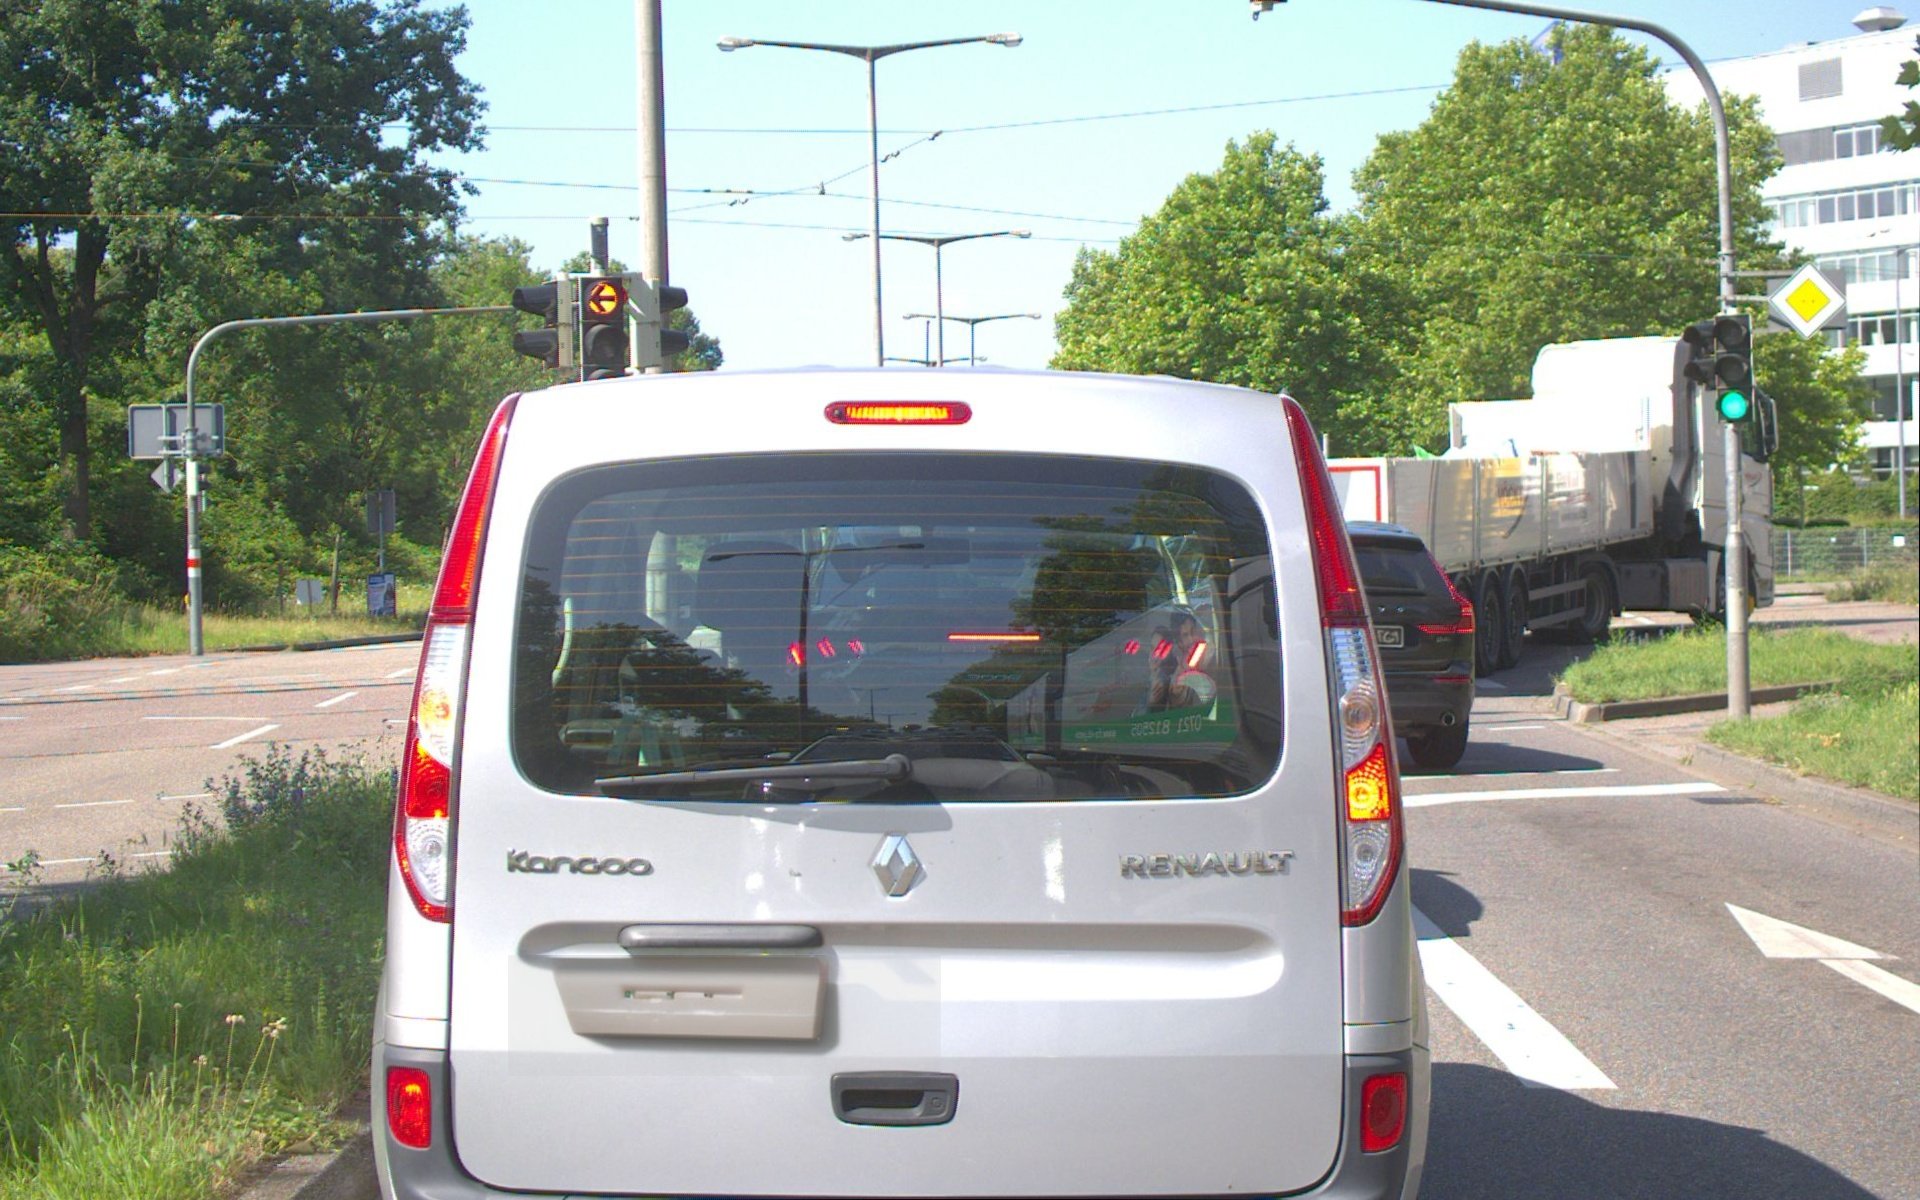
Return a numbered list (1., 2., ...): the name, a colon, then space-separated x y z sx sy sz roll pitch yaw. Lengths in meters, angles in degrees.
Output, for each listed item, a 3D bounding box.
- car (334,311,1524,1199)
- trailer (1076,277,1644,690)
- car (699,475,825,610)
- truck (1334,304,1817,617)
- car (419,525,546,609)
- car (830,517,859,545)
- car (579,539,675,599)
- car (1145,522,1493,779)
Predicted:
1. car: -0.073 0.470 7.216 1.786 1.831 4.000 1 1 -1
2. trailer: 4.692 -1.073 36.499 2.903 3.610 12.672 1 1 21
3. car: -3.964 -1.146 69.639 1.994 2.598 5.133 -1 0 2
4. truck: 7.934 -1.640 43.571 2.917 3.630 7.173 1 1 39
5. car: -9.817 -0.678 70.920 1.911 1.636 3.737 -1 0 2
6. car: -8.394 -5.029 250.137 1.888 2.007 4.000 1 1 2
7. car: -8.909 -0.838 92.288 1.994 1.535 4.236 -1 0 2
8. car: 2.371 0.296 23.775 1.875 1.586 4.434 1 1 -1
